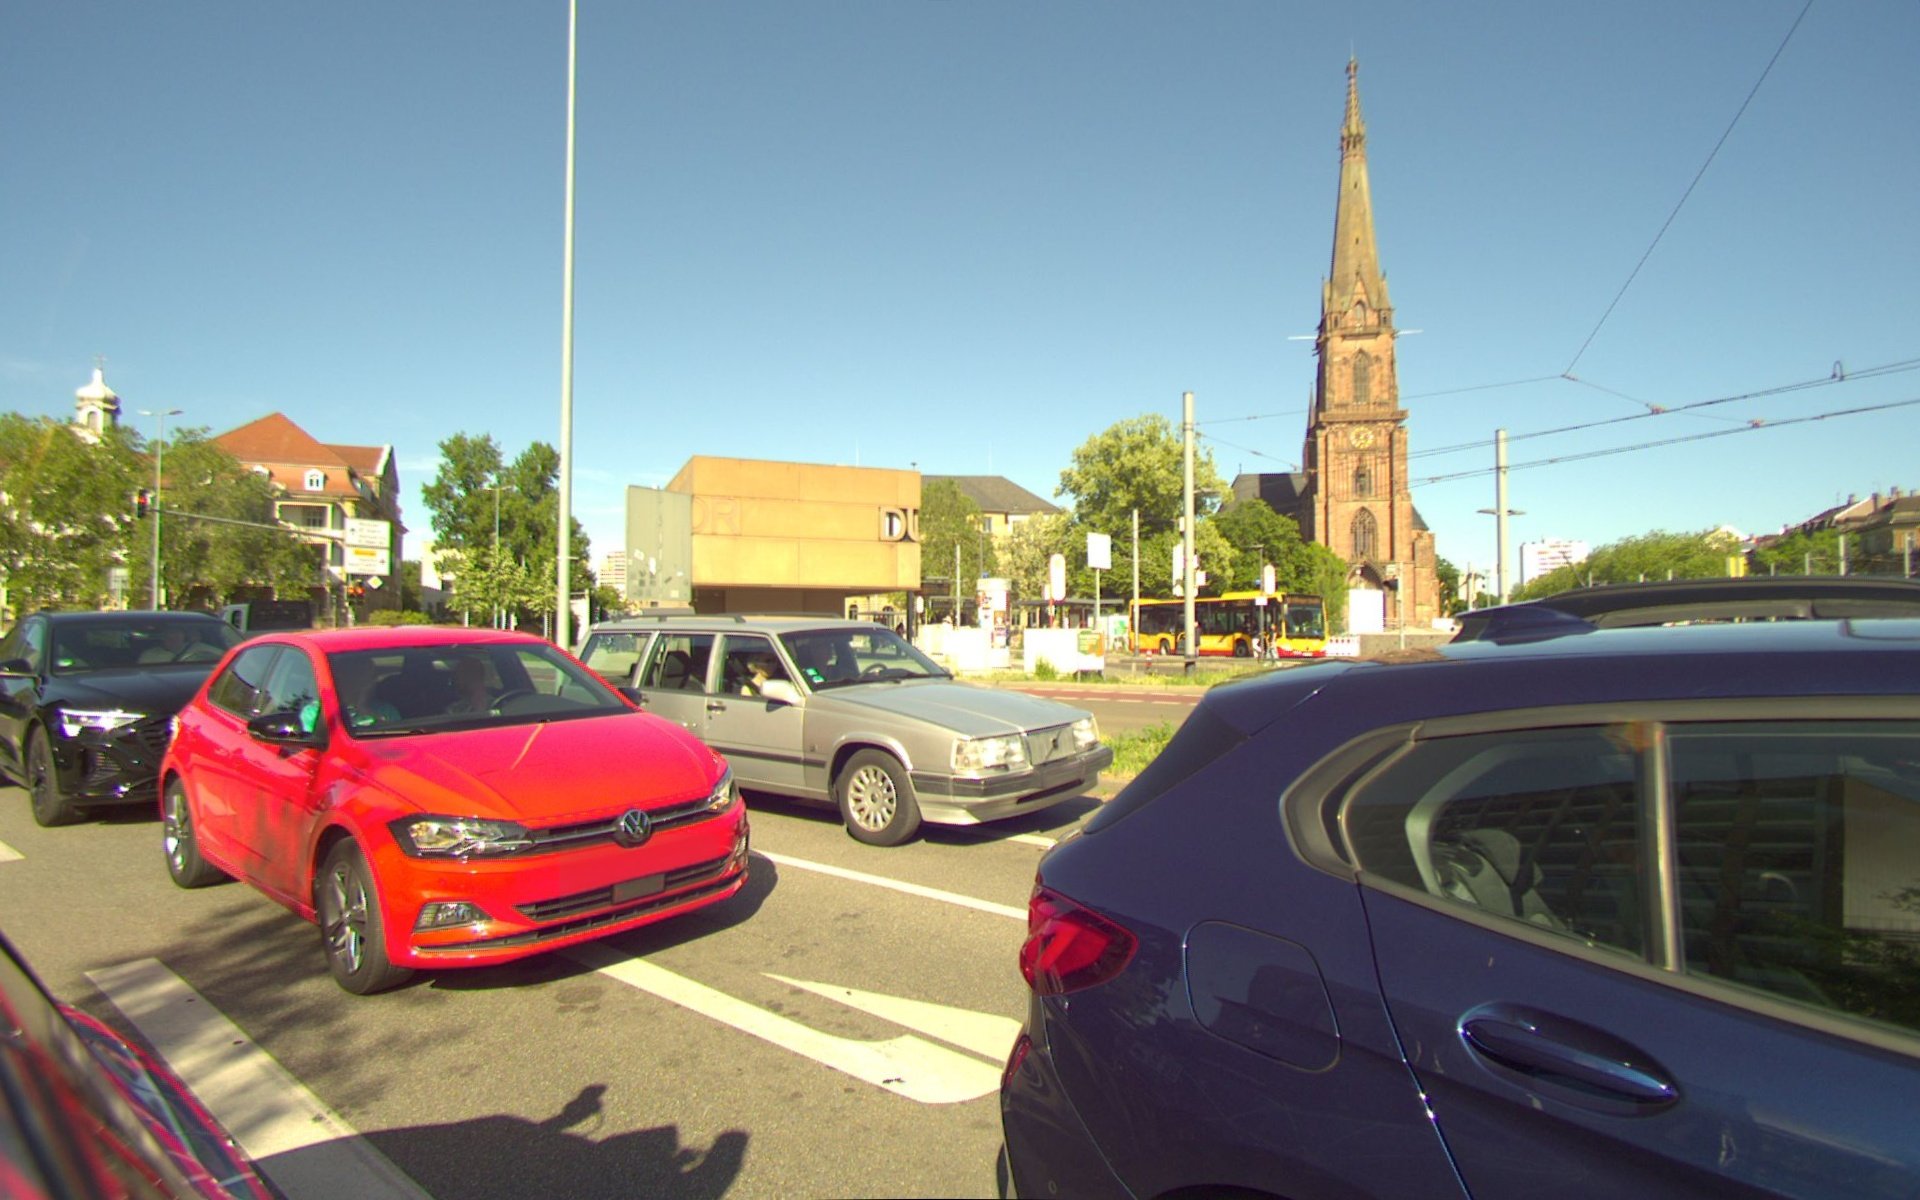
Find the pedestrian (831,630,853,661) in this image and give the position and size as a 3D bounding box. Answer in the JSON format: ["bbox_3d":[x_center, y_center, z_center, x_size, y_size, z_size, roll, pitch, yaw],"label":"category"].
[{"bbox_3d":[-4.984,1.917,42.747,0.635,1.320,0.764,1,-2,-40],"label":"pedestrian"}]

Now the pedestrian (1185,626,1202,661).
[{"bbox_3d":[10.368,1.934,44.897,0.561,1.525,0.529,-1,-1,-9],"label":"pedestrian"}]

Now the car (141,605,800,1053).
[{"bbox_3d":[-2.742,0.810,5.259,3.850,1.484,1.653,-2,-1,40],"label":"car"}]

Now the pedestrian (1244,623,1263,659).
[{"bbox_3d":[12.458,1.724,42.929,0.552,1.525,0.529,-1,-1,-37],"label":"pedestrian"}]

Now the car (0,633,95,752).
[{"bbox_3d":[-13.112,1.174,13.481,3.704,1.429,1.557,-2,-2,35],"label":"car"}]

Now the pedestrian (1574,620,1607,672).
[{"bbox_3d":[22.984,1.678,36.884,0.882,1.869,0.679,-2,-3,41],"label":"pedestrian"}]

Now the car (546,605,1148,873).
[{"bbox_3d":[-1.097,0.818,7.749,4.744,1.484,1.693,-1,-1,37],"label":"car"}]

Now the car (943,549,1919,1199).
[{"bbox_3d":[2.029,0.663,0.988,4.031,1.456,1.692,-2,-1,42],"label":"car"}]

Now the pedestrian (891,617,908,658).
[{"bbox_3d":[-2.679,1.666,44.717,0.468,1.789,0.638,-2,-2,36],"label":"pedestrian"}]

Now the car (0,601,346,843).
[{"bbox_3d":[-7.354,0.892,8.930,4.447,1.628,1.836,-2,-2,38],"label":"car"}]

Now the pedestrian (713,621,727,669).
[{"bbox_3d":[-9.071,1.677,38.239,0.460,1.789,0.648,0,-2,-21],"label":"pedestrian"}]

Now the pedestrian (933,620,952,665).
[{"bbox_3d":[-0.697,1.708,40.531,0.634,1.789,0.470,1,-2,-29],"label":"pedestrian"}]

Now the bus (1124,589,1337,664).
[{"bbox_3d":[12.200,1.315,47.669,2.715,3.088,12.201,1,-2,-23],"label":"bus"}]

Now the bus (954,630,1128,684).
[{"bbox_3d":[2.016,1.402,25.680,4.174,1.251,1.627,-2,-2,35],"label":"bus"}]

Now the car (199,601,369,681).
[{"bbox_3d":[-21.855,1.293,32.625,6.191,2.331,2.095,-1,0,31],"label":"car"}]

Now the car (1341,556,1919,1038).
[{"bbox_3d":[3.752,0.626,3.747,4.010,1.529,1.738,-2,-2,44],"label":"car"}]

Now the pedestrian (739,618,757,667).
[{"bbox_3d":[-7.914,1.589,37.782,0.635,1.789,0.618,0,-2,-8],"label":"pedestrian"}]

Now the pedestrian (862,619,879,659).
[{"bbox_3d":[-4.072,1.778,45.889,0.468,1.789,0.638,-2,-2,36],"label":"pedestrian"}]

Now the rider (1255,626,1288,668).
[{"bbox_3d":[10.974,1.649,35.643,0.660,1.475,0.862,1,-3,-43],"label":"rider"}]

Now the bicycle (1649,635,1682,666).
[{"bbox_3d":[27.219,1.940,39.058,1.232,1.182,0.471,1,-2,-26],"label":"bicycle"}]
